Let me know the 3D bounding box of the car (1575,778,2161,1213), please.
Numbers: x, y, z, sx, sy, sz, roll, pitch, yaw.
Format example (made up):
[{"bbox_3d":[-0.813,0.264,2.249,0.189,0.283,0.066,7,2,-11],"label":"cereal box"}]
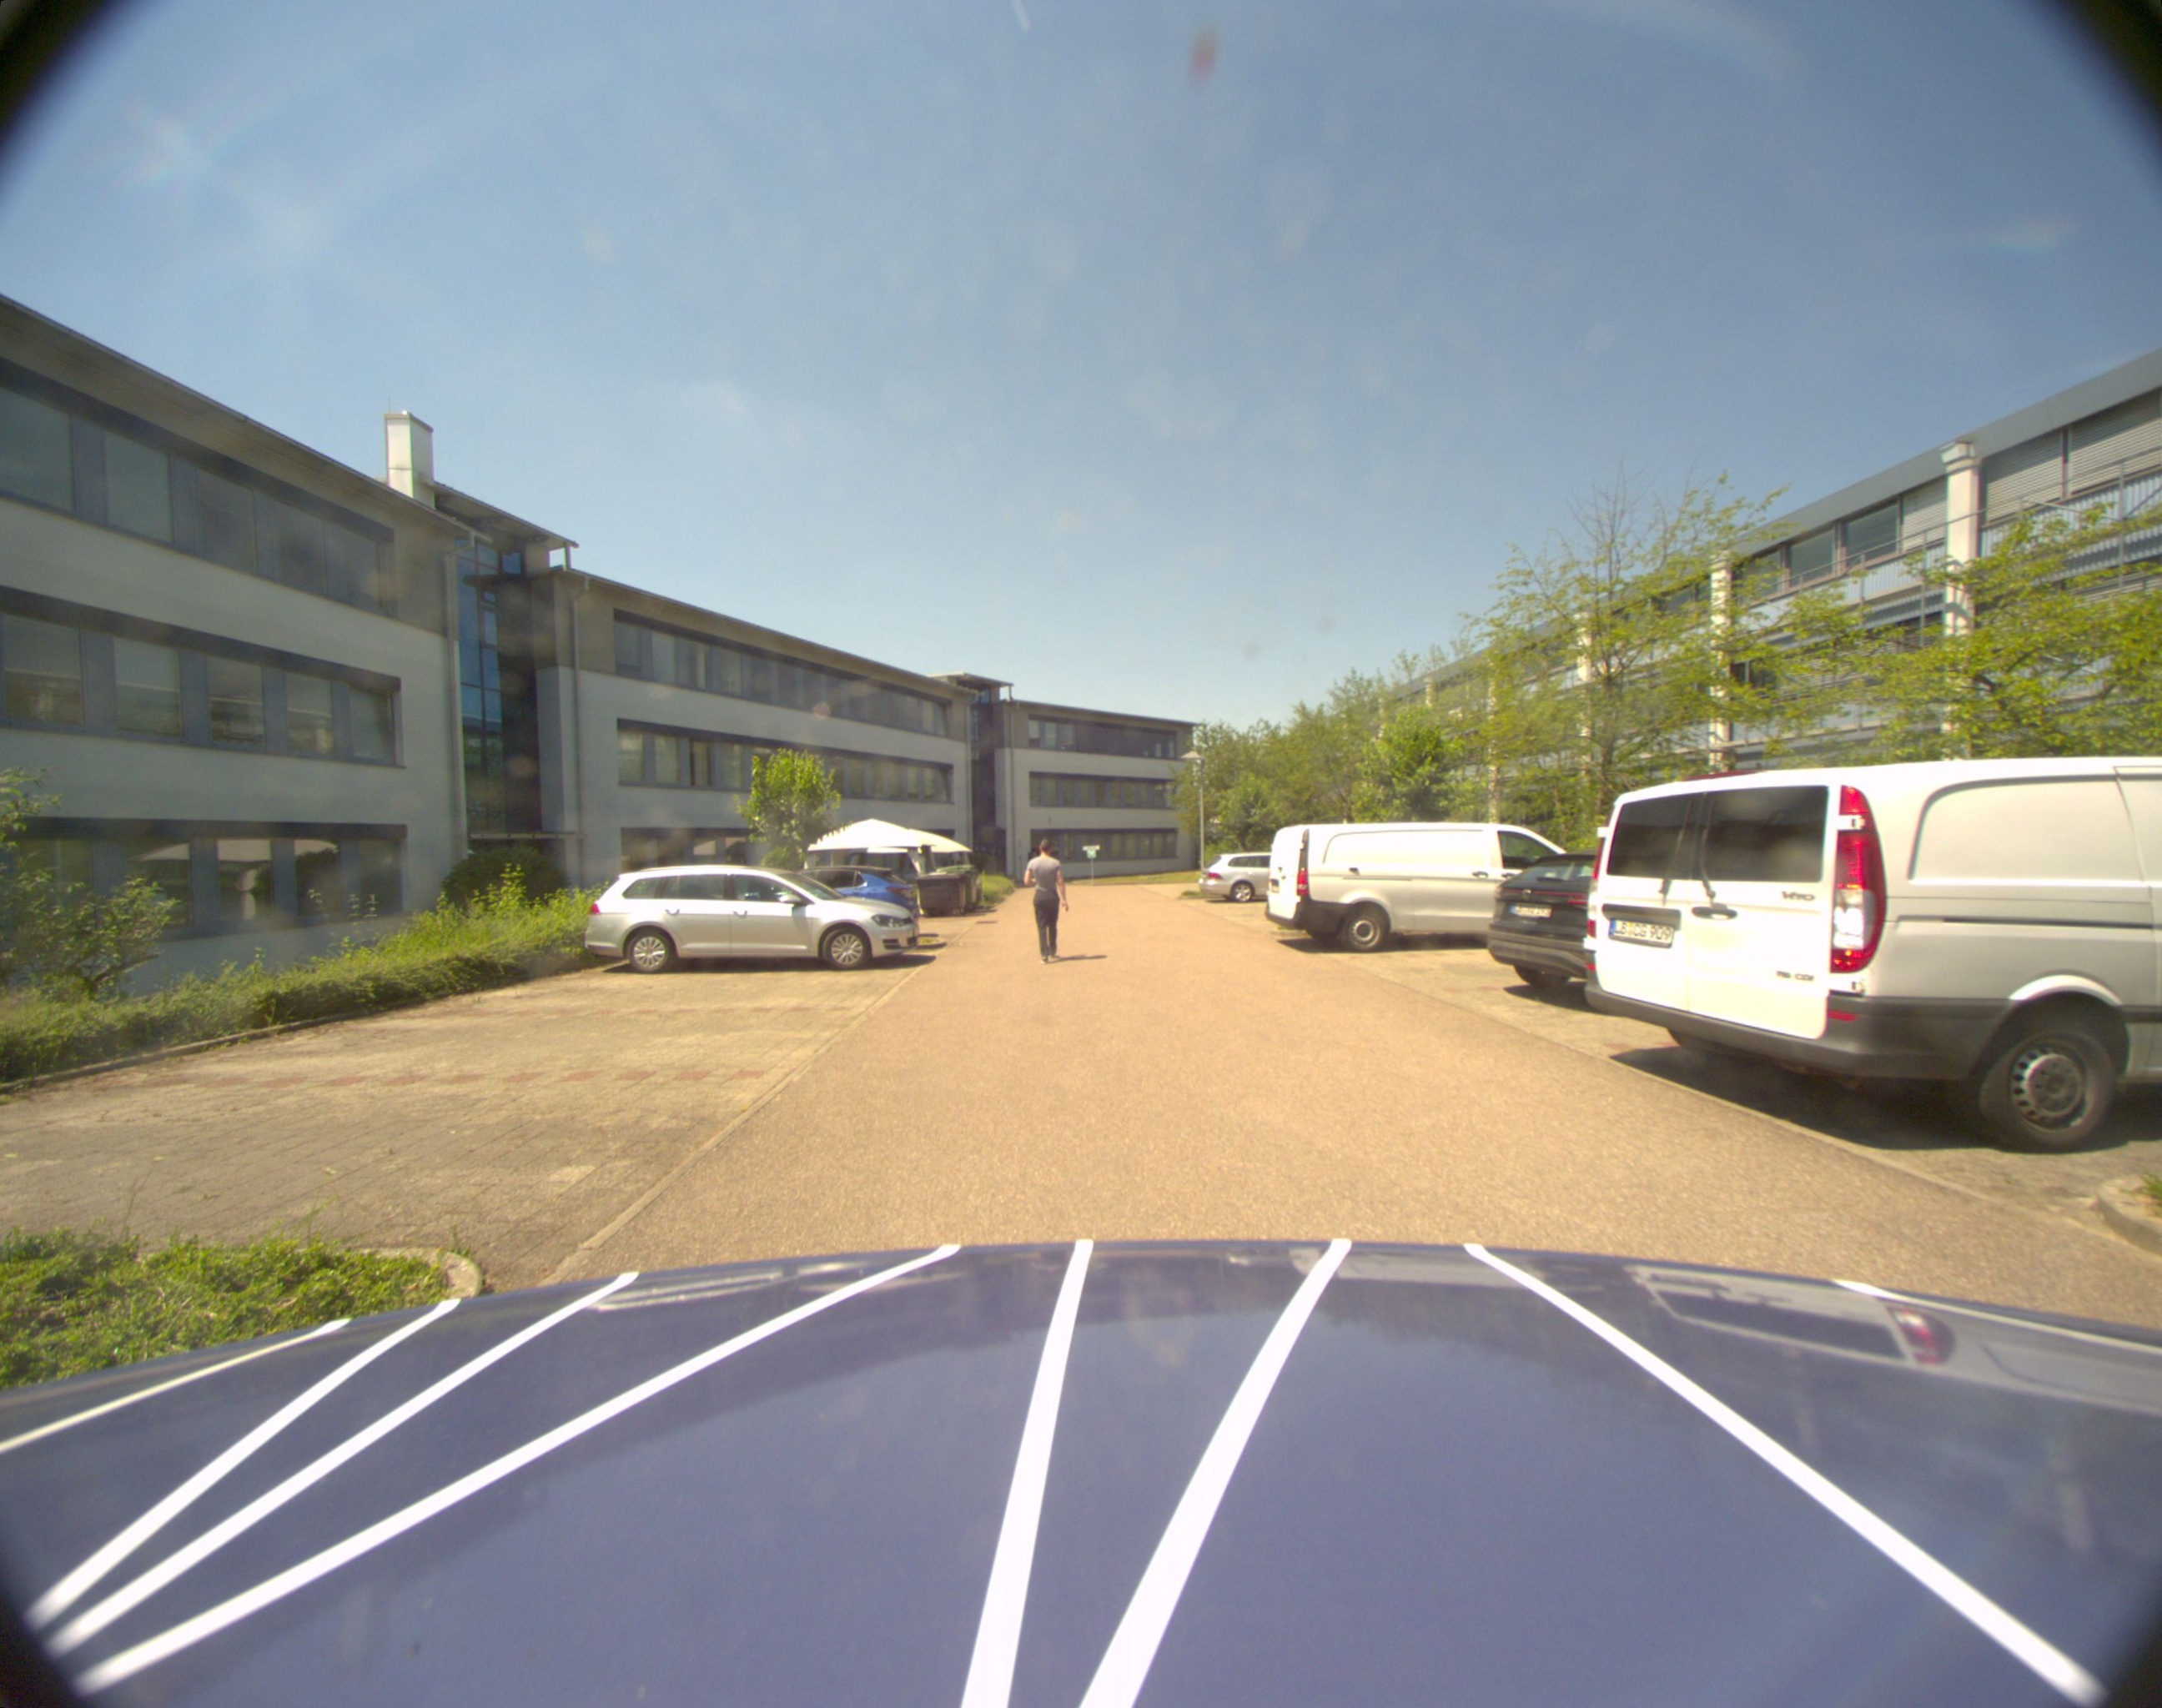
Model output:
[{"bbox_3d":[5.781,0.577,4.394,4.733,1.895,1.829,-1,1,-3],"label":"car"}]

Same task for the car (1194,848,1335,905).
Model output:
[{"bbox_3d":[5.425,0.632,22.703,3.764,1.549,1.660,-1,1,-3],"label":"car"}]

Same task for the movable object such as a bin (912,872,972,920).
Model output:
[{"bbox_3d":[-3.675,1.099,20.193,1.363,1.182,0.997,-1,1,3],"label":"movable object such as a bin"}]

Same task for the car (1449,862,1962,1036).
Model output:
[{"bbox_3d":[5.920,0.833,7.470,3.850,1.385,1.576,-1,1,-3],"label":"car"}]

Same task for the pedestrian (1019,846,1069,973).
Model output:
[{"bbox_3d":[-0.519,0.767,10.902,0.618,1.747,0.788,-1,1,1],"label":"pedestrian"}]

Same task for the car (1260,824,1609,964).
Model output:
[{"bbox_3d":[5.266,0.553,11.689,4.518,1.871,1.828,-1,1,-3],"label":"car"}]

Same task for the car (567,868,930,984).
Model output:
[{"bbox_3d":[-4.646,0.982,11.191,4.518,1.488,1.828,0,1,-3],"label":"car"}]

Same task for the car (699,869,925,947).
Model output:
[{"bbox_3d":[-5.077,1.004,14.751,3.825,1.383,1.651,0,1,-3],"label":"car"}]

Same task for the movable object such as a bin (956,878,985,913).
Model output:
[{"bbox_3d":[-3.214,1.207,22.172,0.690,0.944,0.722,-1,1,3],"label":"movable object such as a bin"}]

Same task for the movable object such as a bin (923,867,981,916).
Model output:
[{"bbox_3d":[-3.585,1.044,21.265,1.363,1.288,1.043,-1,1,3],"label":"movable object such as a bin"}]
